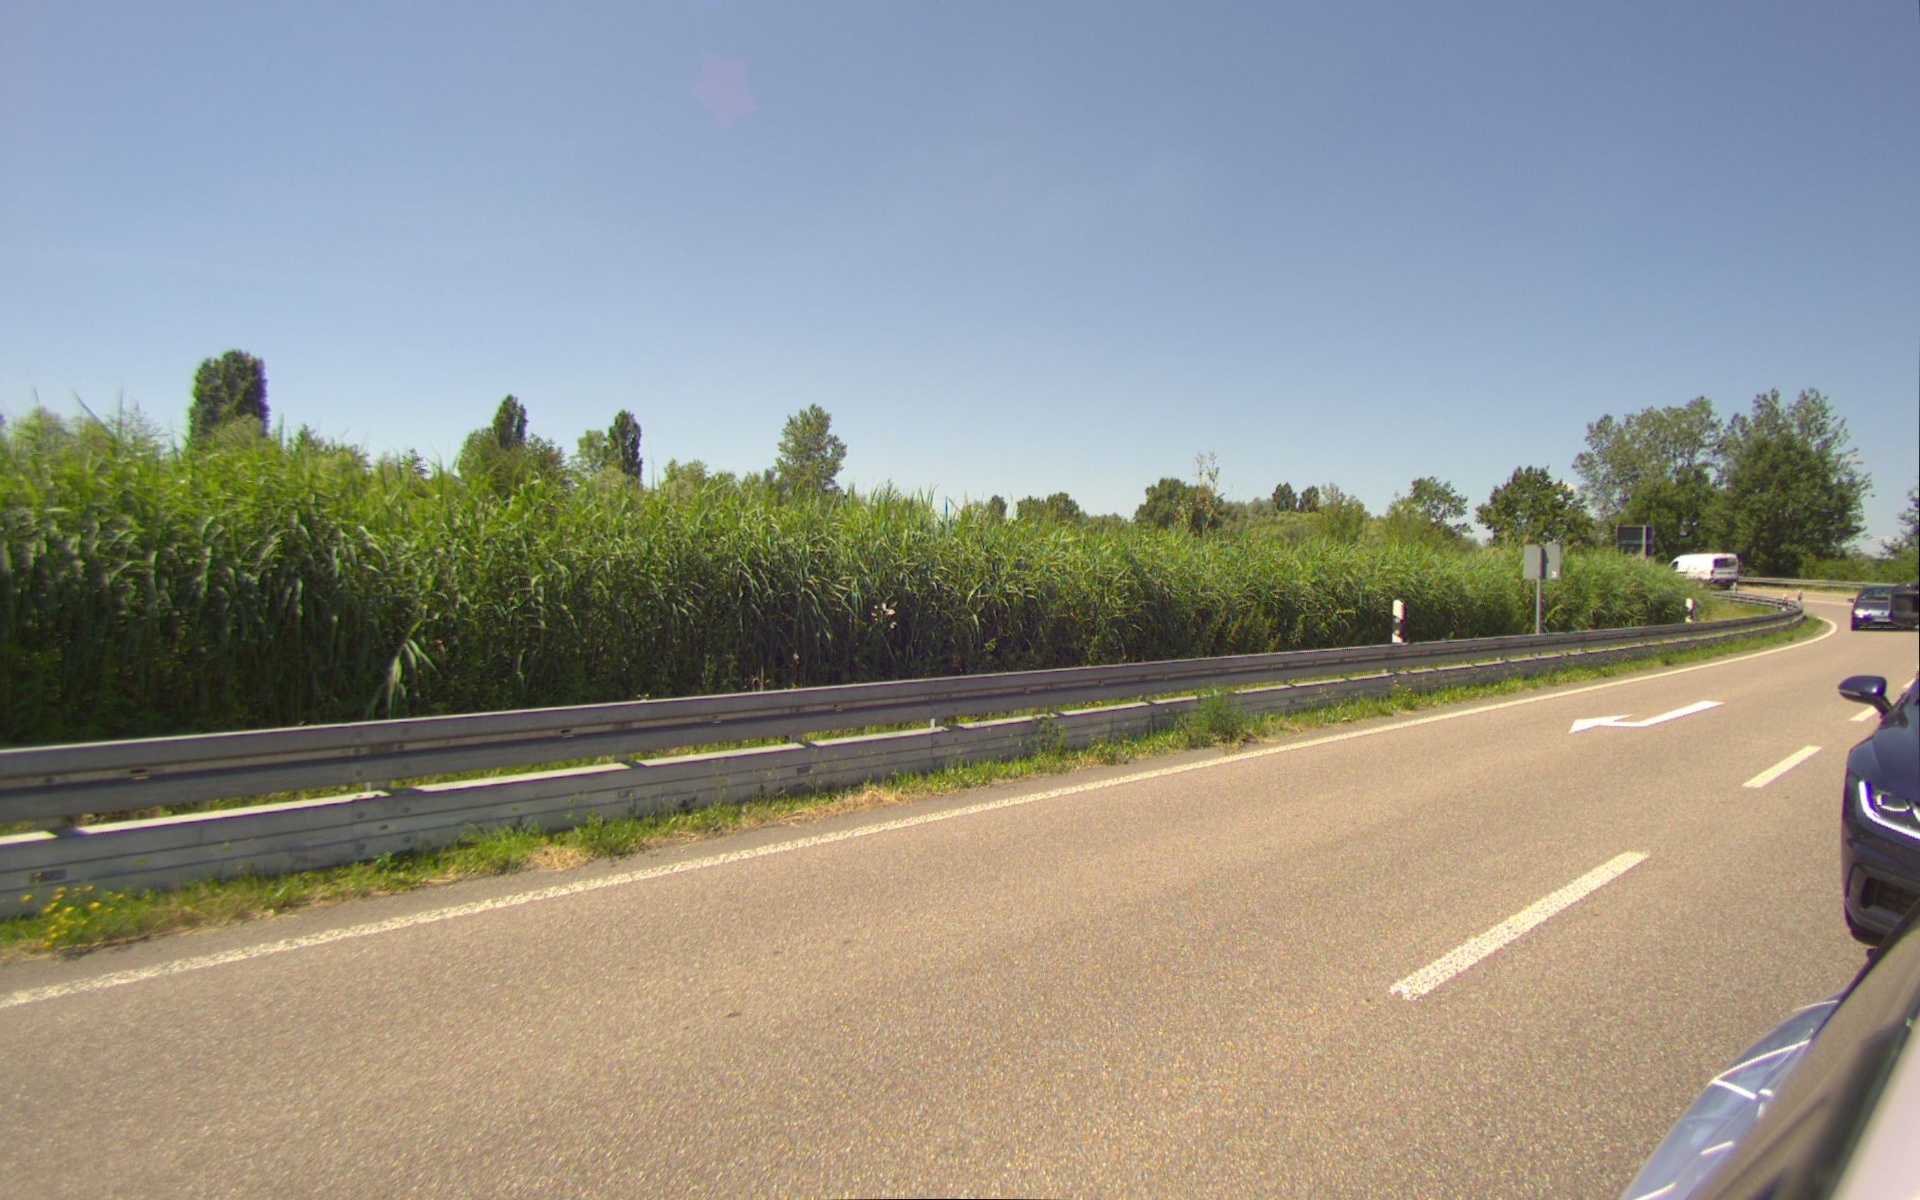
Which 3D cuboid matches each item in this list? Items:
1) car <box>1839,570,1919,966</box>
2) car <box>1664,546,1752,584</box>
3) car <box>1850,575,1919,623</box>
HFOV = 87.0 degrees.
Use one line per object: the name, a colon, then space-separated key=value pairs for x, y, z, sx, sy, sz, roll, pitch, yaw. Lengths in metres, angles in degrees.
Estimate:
car: x=5.661 y=0.617 z=4.687 sx=4.338 sy=1.481 sz=1.818 roll=-1 pitch=1 yaw=-41
car: x=53.093 y=-2.427 z=71.984 sx=1.962 sy=2.446 sz=5.590 roll=-4 pitch=1 yaw=0
car: x=33.209 y=-0.068 z=36.211 sx=1.663 sy=1.620 sz=3.509 roll=0 pitch=1 yaw=35
